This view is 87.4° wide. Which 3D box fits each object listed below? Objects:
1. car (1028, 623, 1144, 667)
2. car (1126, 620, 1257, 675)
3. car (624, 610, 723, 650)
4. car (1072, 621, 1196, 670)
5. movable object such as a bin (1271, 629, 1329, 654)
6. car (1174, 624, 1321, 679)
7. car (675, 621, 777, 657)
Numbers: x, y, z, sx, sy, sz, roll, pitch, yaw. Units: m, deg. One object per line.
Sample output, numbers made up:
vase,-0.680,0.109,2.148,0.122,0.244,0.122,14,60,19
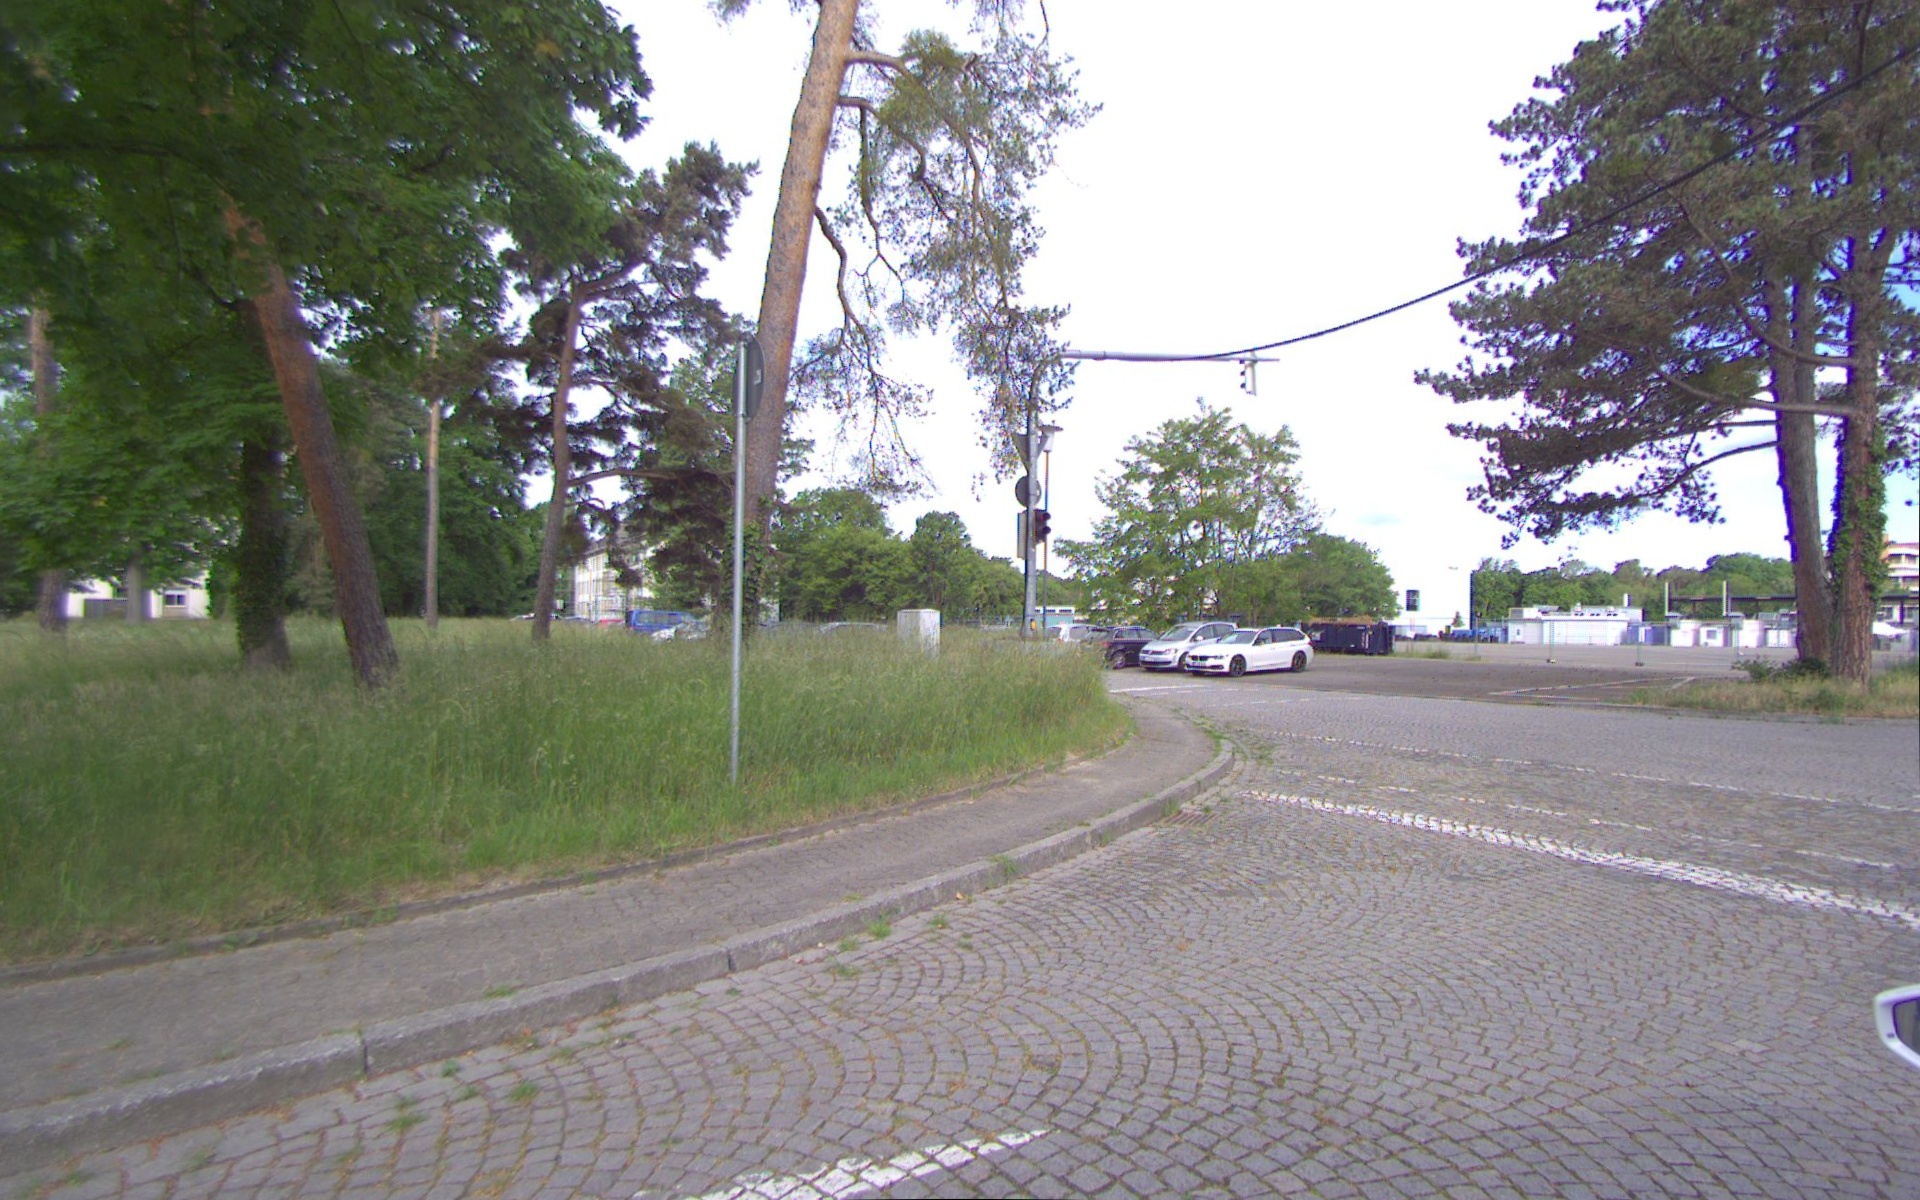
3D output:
car,4.818,1.692,38.158,4.280,1.587,1.782,2,-1,-33
car,7.767,1.536,33.602,4.280,1.605,1.811,-1,0,-33
car,-15.028,1.570,52.753,4.736,2.007,1.982,1,-1,-30
car,6.240,1.580,35.900,4.279,1.522,1.844,-1,0,-33
movable object such as a bin,15.410,1.879,45.510,2.632,1.062,1.170,2,-2,-35
car,9.050,1.554,31.470,4.688,1.461,1.800,-1,0,-33
car,-9.997,1.658,43.038,3.951,1.457,1.678,2,-1,-29
